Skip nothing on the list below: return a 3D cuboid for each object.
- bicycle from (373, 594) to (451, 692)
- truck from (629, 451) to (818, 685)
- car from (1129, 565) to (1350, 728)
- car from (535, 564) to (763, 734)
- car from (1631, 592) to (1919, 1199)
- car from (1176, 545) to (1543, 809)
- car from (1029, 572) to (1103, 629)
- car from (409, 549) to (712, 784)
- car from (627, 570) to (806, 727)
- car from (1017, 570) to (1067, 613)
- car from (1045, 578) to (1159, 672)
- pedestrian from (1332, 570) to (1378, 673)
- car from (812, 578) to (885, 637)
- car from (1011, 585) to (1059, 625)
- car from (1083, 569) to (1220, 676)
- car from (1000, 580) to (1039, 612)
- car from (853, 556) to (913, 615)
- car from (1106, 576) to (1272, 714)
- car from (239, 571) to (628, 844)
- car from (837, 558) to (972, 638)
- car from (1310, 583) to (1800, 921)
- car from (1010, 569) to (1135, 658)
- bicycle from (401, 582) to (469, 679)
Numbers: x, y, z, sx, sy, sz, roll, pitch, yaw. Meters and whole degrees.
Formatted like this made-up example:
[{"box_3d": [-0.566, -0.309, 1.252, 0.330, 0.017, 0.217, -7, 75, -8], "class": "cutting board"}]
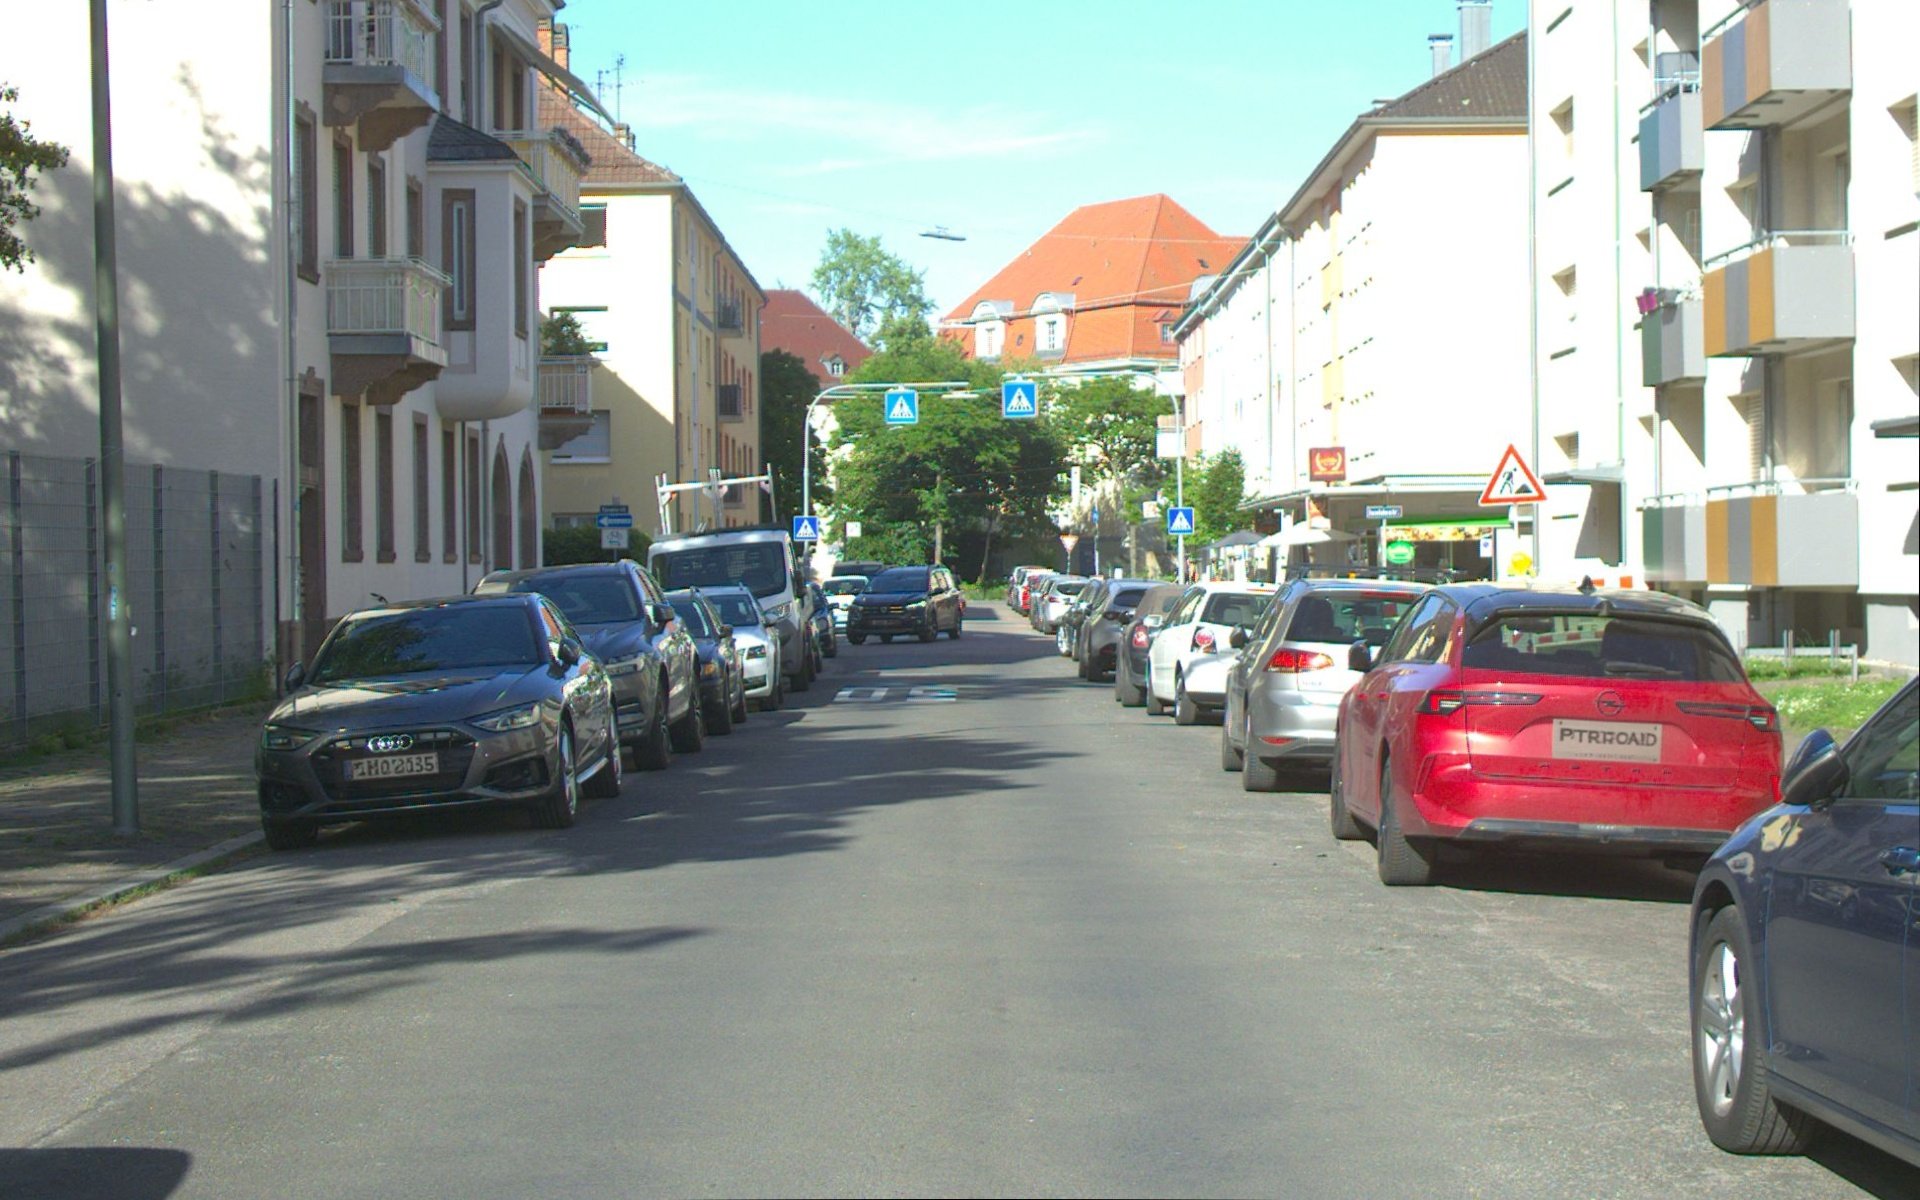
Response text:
[{"box_3d": [-7.073, 0.538, 44.462, 0.629, 1.199, 2.341, 0, 1, 0], "class": "bicycle"}, {"box_3d": [-3.172, -0.394, 47.579, 2.259, 2.976, 7.276, 0, 0, -1], "class": "truck"}, {"box_3d": [2.842, 0.455, 35.711, 1.685, 1.458, 3.820, 5, 0, -3], "class": "car"}, {"box_3d": [-3.017, 0.465, 34.160, 1.792, 1.557, 4.459, 1, 0, 1], "class": "car"}, {"box_3d": [2.769, 0.729, 7.258, 1.752, 1.476, 4.080, 0, 0, -2], "class": "car"}, {"box_3d": [2.686, 0.487, 24.178, 1.898, 1.616, 4.602, 2, 0, -1], "class": "car"}, {"box_3d": [2.746, -0.006, 88.692, 1.845, 1.436, 3.418, 0, 0, 2], "class": "car"}, {"box_3d": [-3.133, 0.487, 27.925, 1.878, 1.658, 4.932, -3, 0, -1], "class": "car"}, {"box_3d": [-2.812, 0.519, 40.538, 1.792, 1.535, 4.642, -6, 1, -2], "class": "car"}, {"box_3d": [2.851, -0.306, 120.082, 1.637, 1.436, 3.419, -1, 1, -1], "class": "car"}, {"box_3d": [2.296, 0.410, 56.279, 1.645, 1.455, 3.939, 1, 0, -1], "class": "car"}, {"box_3d": [5.582, 0.301, 48.571, 0.575, 1.428, 0.471, -2, 1, 2], "class": "pedestrian"}, {"box_3d": [-3.001, 0.176, 93.059, 1.791, 1.475, 4.099, -1, 1, 1], "class": "car"}, {"box_3d": [2.750, 0.182, 126.148, 1.637, 1.436, 3.419, 0, 0, -1], "class": "car"}, {"box_3d": [2.733, 0.288, 49.905, 1.792, 1.466, 4.339, -1, 1, 1], "class": "car"}, {"box_3d": [2.679, -0.186, 154.715, 1.637, 1.436, 3.419, 0, 0, -1], "class": "car"}, {"box_3d": [-2.350, -0.450, 105.630, 1.697, 1.773, 4.098, 0, 0, 1], "class": "car"}, {"box_3d": [2.631, 0.487, 40.137, 1.688, 1.462, 3.582, 2, 1, 1], "class": "car"}, {"box_3d": [-3.188, 0.604, 21.635, 1.794, 1.466, 4.502, -2, 0, -1], "class": "car"}, {"box_3d": [-1.137, -0.056, 72.826, 1.822, 1.628, 4.254, 0, 1, 14], "class": "car"}, {"box_3d": [2.766, 0.646, 16.938, 1.752, 1.439, 4.522, 0, 0, 2], "class": "car"}, {"box_3d": [1.978, 0.254, 61.732, 1.853, 1.518, 4.777, 1, 0, -3], "class": "car"}, {"box_3d": [-7.222, 0.406, 47.387, 0.569, 1.275, 2.341, 0, 1, 0], "class": "bicycle"}]
